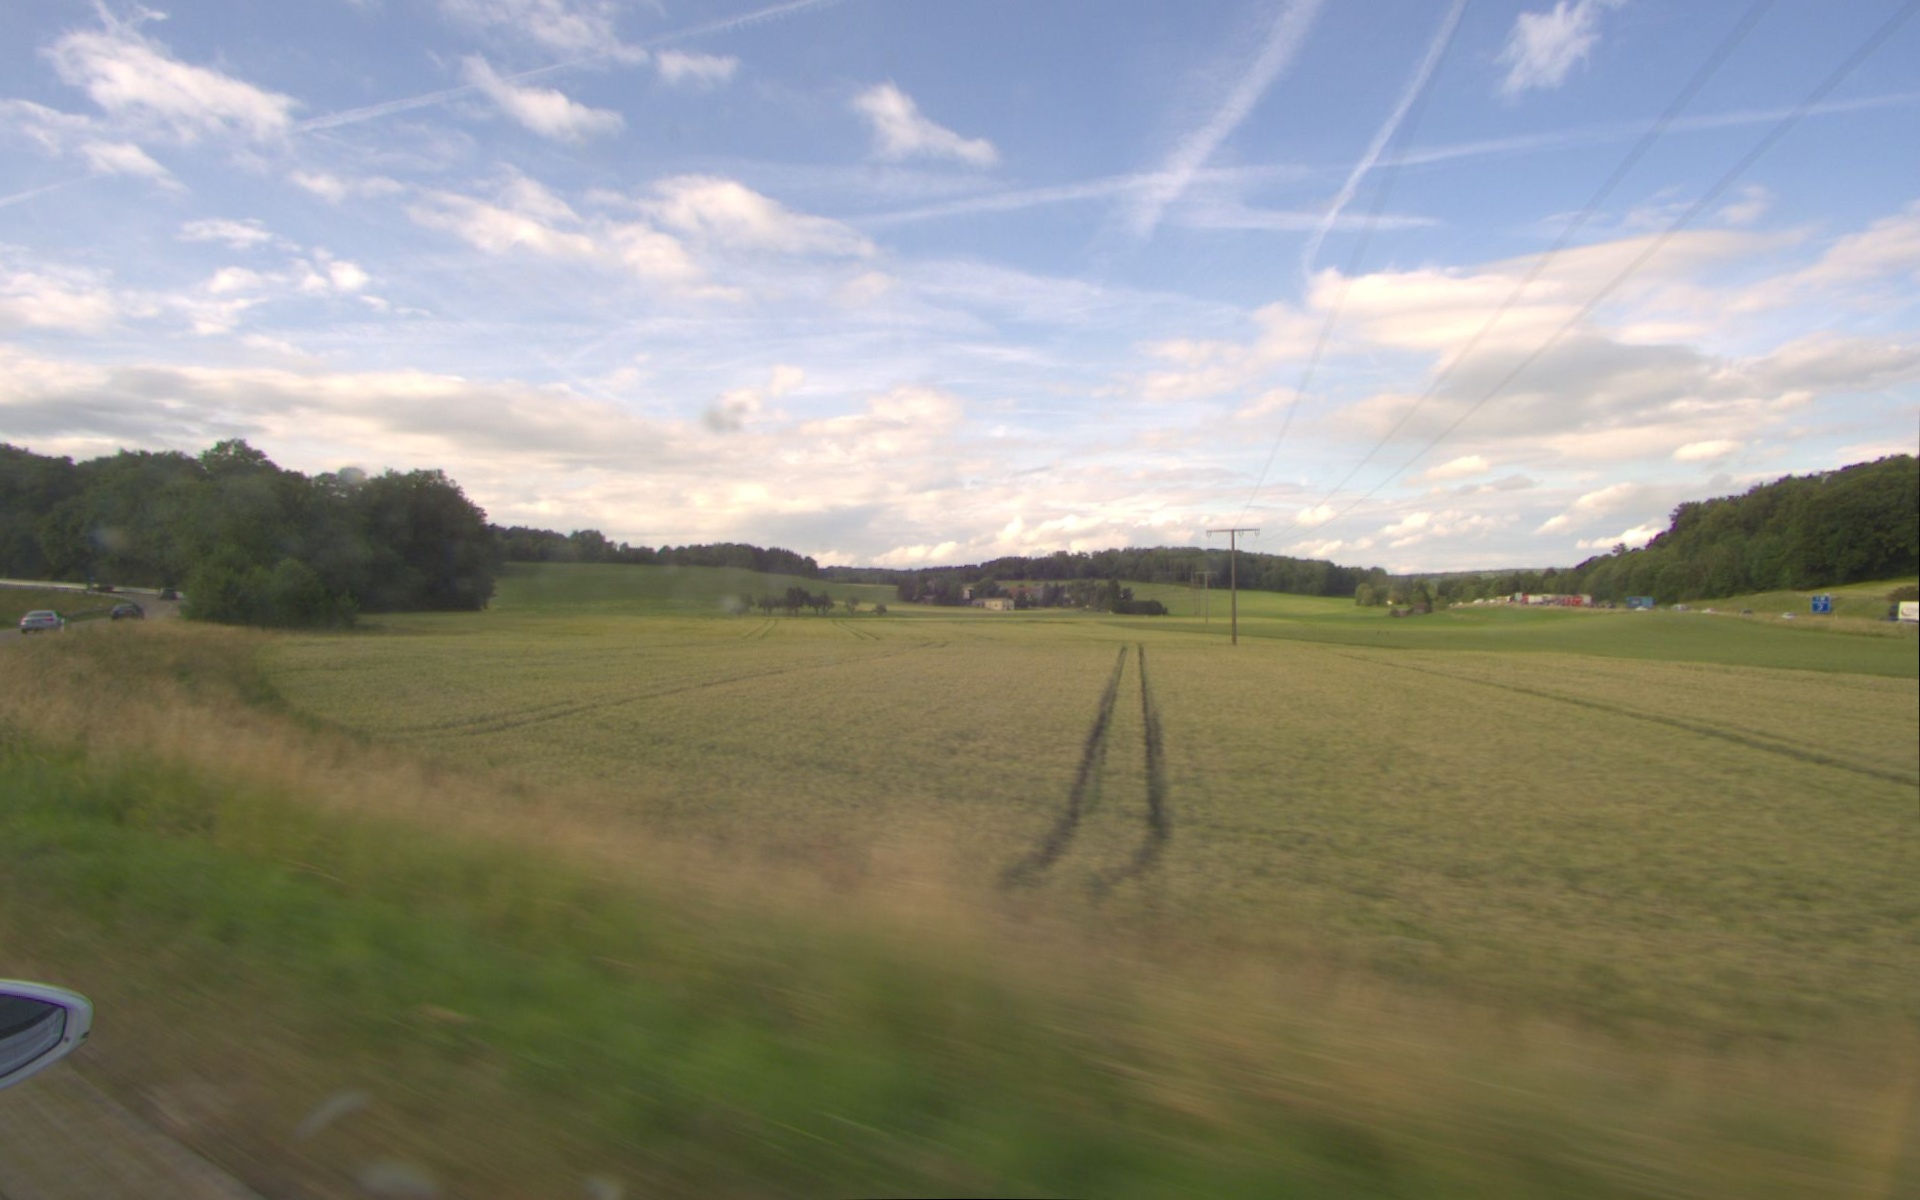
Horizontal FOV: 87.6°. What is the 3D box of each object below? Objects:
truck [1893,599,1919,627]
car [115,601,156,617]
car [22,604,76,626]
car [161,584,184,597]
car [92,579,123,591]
[{"bbox_3d":[154.562,2.129,158.015,4.006,4.048,14.403,-5,0,14],"label":"truck"},{"bbox_3d":[-72.139,0.766,87.684,1.449,1.243,3.294,-3,1,-15],"label":"car"},{"bbox_3d":[-59.997,0.989,66.017,1.663,1.394,3.981,-2,0,-29],"label":"car"},{"bbox_3d":[-110.904,-1.340,141.000,4.130,1.702,1.983,2,1,42],"label":"car"},{"bbox_3d":[-136.811,-2.340,160.713,3.927,1.796,1.997,2,1,17],"label":"car"}]
